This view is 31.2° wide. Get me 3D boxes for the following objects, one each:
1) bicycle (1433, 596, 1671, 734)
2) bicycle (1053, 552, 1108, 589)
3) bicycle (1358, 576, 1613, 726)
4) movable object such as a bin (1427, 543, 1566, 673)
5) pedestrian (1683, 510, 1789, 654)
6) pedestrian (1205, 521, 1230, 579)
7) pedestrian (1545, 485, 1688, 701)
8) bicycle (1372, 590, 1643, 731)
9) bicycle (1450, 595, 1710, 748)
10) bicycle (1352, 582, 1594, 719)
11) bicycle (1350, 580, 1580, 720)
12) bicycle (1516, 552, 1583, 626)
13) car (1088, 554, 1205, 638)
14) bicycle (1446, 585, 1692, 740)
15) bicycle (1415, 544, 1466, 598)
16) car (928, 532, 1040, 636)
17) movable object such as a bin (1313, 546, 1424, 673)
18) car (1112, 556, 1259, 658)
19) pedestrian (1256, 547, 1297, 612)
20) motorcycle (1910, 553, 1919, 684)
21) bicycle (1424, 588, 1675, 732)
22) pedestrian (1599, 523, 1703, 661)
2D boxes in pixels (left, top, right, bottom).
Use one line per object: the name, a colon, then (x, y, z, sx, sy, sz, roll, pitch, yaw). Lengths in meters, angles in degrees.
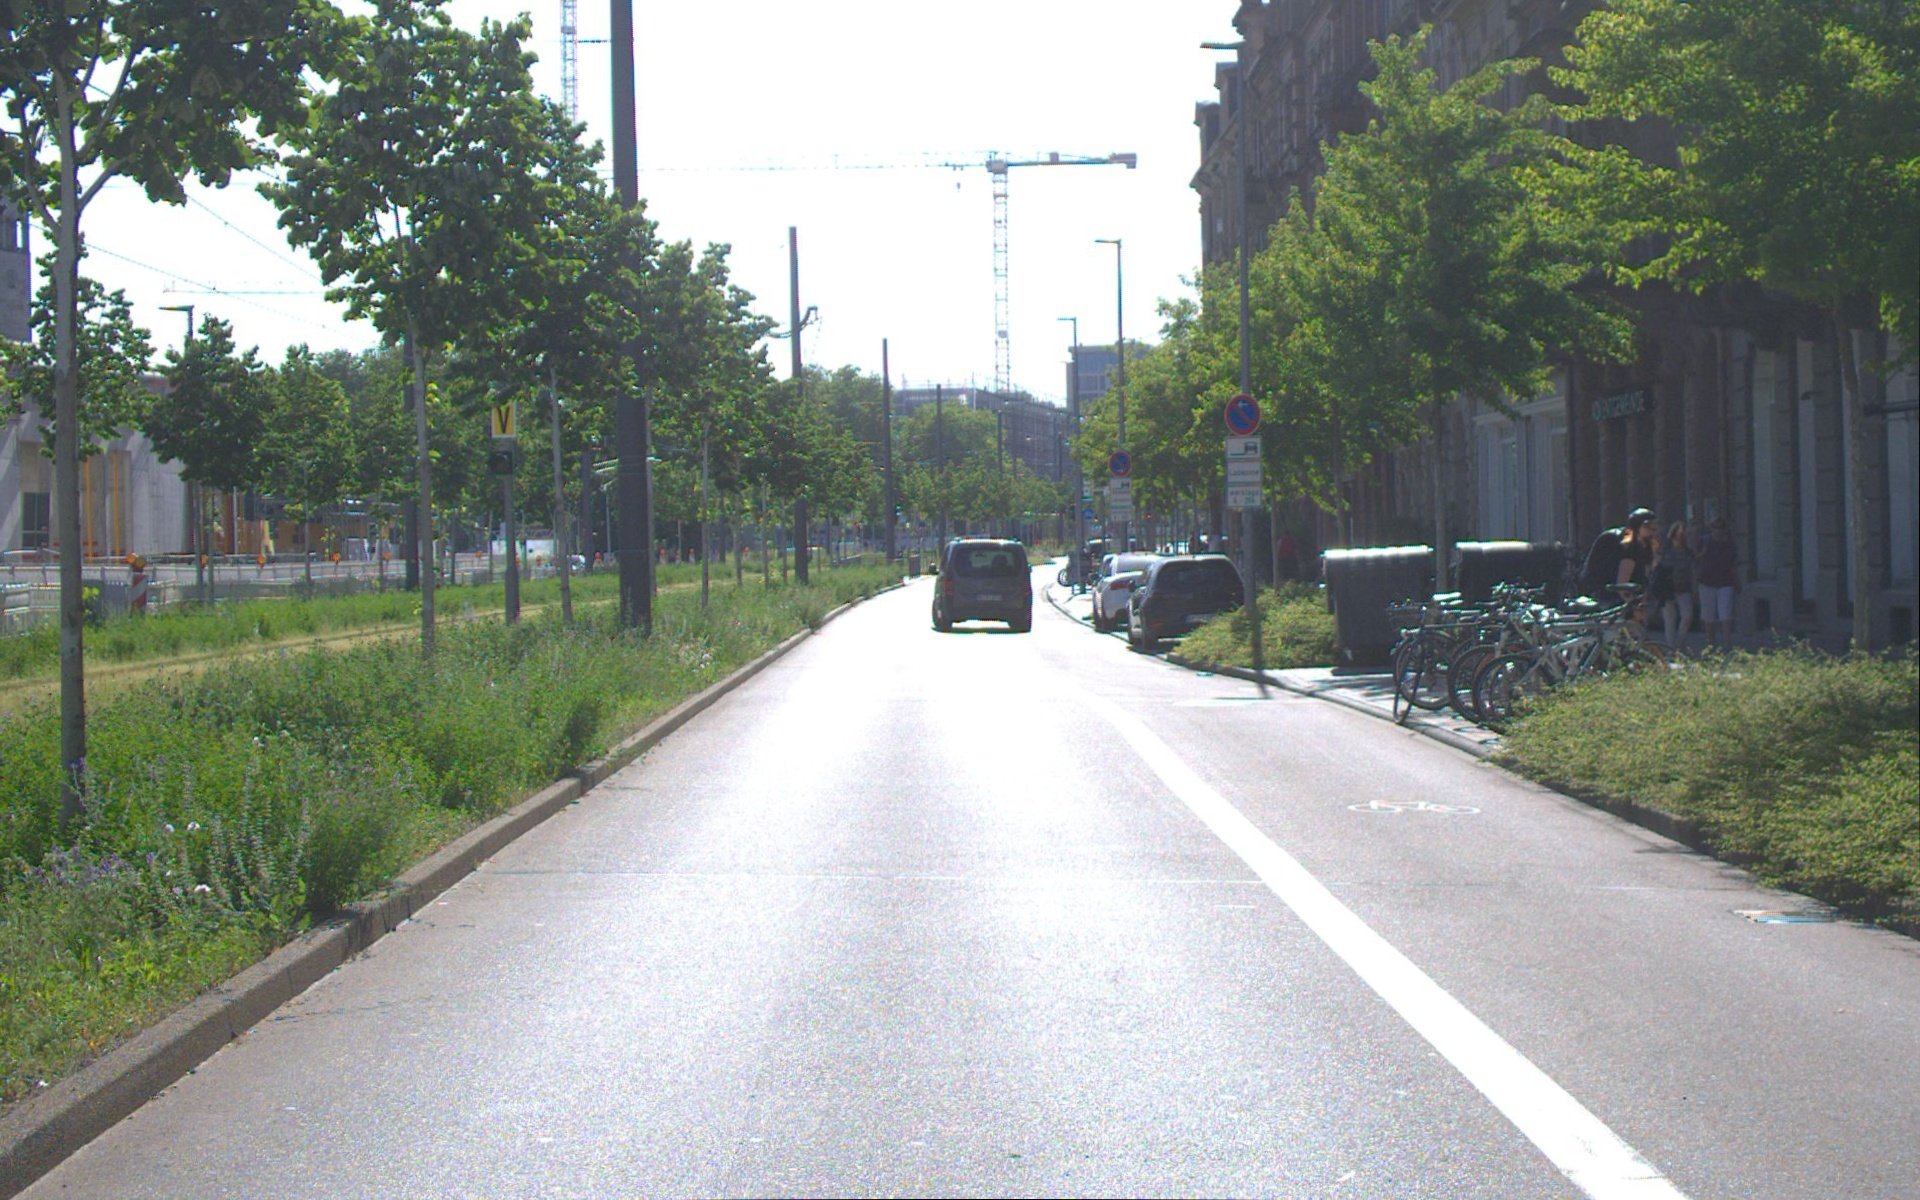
bicycle: (4.899, 0.533, 28.487, 1.814, 1.052, 0.572, -2, 0, -6)
bicycle: (4.390, -1.059, 125.028, 1.878, 1.229, 0.500, -3, 0, -5)
bicycle: (4.638, 0.442, 30.340, 2.146, 1.150, 0.429, -4, 1, -13)
movable object such as a bin: (6.577, 0.091, 42.247, 1.373, 1.490, 1.749, -3, 0, 1)
pedestrian: (9.100, -0.221, 40.347, 0.971, 1.633, 0.992, -2, 2, 0)
pedestrian: (9.126, -1.763, 121.924, 0.817, 2.007, 1.046, 0, -2, 0)
pedestrian: (5.531, -0.065, 29.014, 0.899, 1.730, 0.849, -4, 1, -1)
bicycle: (4.782, 0.521, 29.996, 2.284, 1.098, 0.486, -3, 0, -14)
bicycle: (4.866, 0.553, 27.014, 1.891, 1.105, 0.518, -3, 0, -5)
bicycle: (4.682, 0.454, 31.424, 2.043, 1.103, 0.611, -4, 0, -6)
bicycle: (4.674, 0.455, 31.832, 1.974, 1.120, 0.482, -4, 2, -5)
bicycle: (9.802, -0.183, 57.212, 0.748, 1.197, 1.801, -2, 0, 0)
car: (3.622, -0.106, 67.665, 1.951, 1.490, 5.105, -3, 1, 0)
bicycle: (4.841, 0.493, 27.368, 1.866, 1.175, 0.374, -1, 0, -3)
bicycle: (9.971, -0.608, 71.410, 0.721, 1.086, 2.198, -2, 1, 0)
car: (0.438, -0.313, 68.604, 1.993, 2.007, 4.000, 0, 0, -3)
movable object such as a bin: (4.981, 0.100, 42.075, 1.271, 1.458, 1.644, 0, 3, 4)
car: (3.562, 0.104, 54.958, 1.765, 1.472, 4.449, -3, 0, -3)
pedestrian: (8.460, -0.543, 92.004, 0.996, 1.725, 0.866, 0, 0, 0)
motorcycle: (9.634, 0.182, 31.761, 0.866, 1.262, 2.982, 0, 0, -1)
bicycle: (4.939, 0.498, 28.830, 1.977, 1.104, 0.435, -3, 0, -3)
pedestrian: (8.106, -0.105, 40.372, 0.950, 1.561, 1.080, -2, 2, -1)
